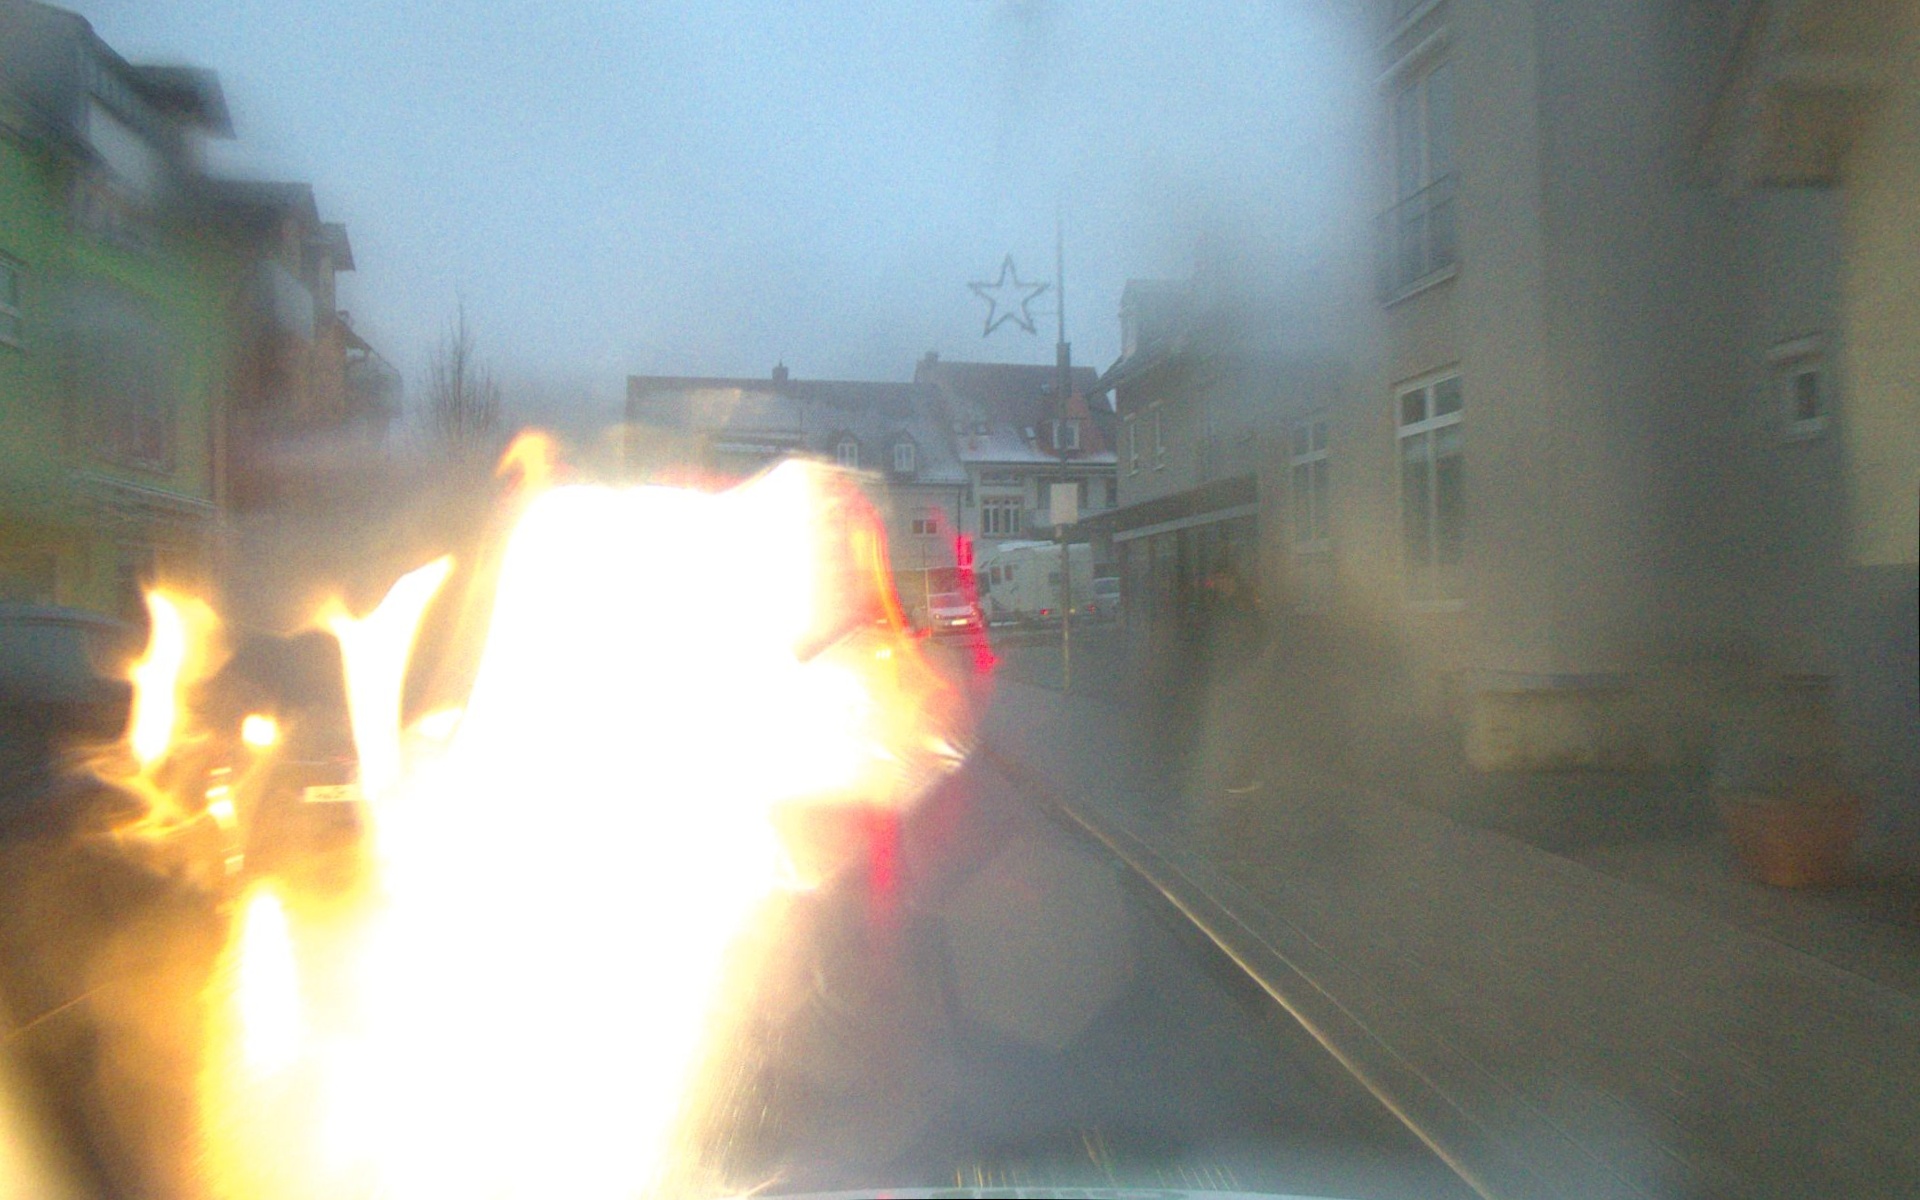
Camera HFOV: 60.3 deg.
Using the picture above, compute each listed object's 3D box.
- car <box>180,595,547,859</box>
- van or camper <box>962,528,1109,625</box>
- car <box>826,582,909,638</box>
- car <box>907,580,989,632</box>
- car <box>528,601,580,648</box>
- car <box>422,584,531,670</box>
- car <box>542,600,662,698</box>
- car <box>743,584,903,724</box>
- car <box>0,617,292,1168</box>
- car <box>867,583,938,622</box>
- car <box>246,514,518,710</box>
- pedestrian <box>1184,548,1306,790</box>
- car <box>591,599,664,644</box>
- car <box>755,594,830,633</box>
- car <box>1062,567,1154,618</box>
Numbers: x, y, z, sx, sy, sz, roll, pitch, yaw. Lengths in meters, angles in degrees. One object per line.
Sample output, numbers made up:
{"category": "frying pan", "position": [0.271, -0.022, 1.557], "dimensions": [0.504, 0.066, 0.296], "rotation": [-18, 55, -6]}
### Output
{"category": "car", "position": [-4.335, 0.794, 12.728], "dimensions": [1.958, 1.583, 4.247], "rotation": [-1, 1, -11]}
{"category": "van or camper", "position": [2.573, -0.783, 59.013], "dimensions": [2.614, 3.100, 6.690], "rotation": [-4, 1, -21]}
{"category": "car", "position": [-3.274, 0.318, 57.923], "dimensions": [1.961, 1.795, 4.332], "rotation": [-3, 1, -15]}
{"category": "car", "position": [-0.468, 0.244, 58.259], "dimensions": [1.960, 1.639, 4.159], "rotation": [-3, -1, -13]}
{"category": "car", "position": [-19.948, 1.156, 81.197], "dimensions": [1.965, 2.241, 3.974], "rotation": [0, 0, -21]}
{"category": "car", "position": [-11.373, 0.614, 39.225], "dimensions": [1.958, 1.876, 5.289], "rotation": [0, 0, -11]}
{"category": "car", "position": [-6.557, 0.860, 30.690], "dimensions": [1.882, 1.592, 4.217], "rotation": [-3, 0, -9]}
{"category": "car", "position": [-1.696, 0.607, 20.470], "dimensions": [1.779, 1.560, 3.996], "rotation": [0, 0, -5]}
{"category": "car", "position": [-3.666, 0.822, 4.956], "dimensions": [1.821, 1.583, 4.252], "rotation": [2, -2, -5]}
{"category": "car", "position": [-2.468, 0.079, 70.060], "dimensions": [1.795, 1.487, 4.525], "rotation": [-3, 1, -18]}
{"category": "car", "position": [-8.651, 0.211, 25.574], "dimensions": [2.438, 2.605, 6.752], "rotation": [0, -1, -6]}
{"category": "pedestrian", "position": [2.148, 0.495, 12.542], "dimensions": [0.730, 1.759, 0.872], "rotation": [-1, 1, -2]}
{"category": "car", "position": [-12.588, 0.792, 62.486], "dimensions": [1.967, 1.616, 3.971], "rotation": [0, 0, -23]}
{"category": "car", "position": [-6.797, 0.535, 66.752], "dimensions": [1.864, 1.488, 3.602], "rotation": [-1, 0, -26]}
{"category": "car", "position": [5.214, -0.255, 58.763], "dimensions": [1.761, 1.580, 3.981], "rotation": [-7, 2, -17]}
